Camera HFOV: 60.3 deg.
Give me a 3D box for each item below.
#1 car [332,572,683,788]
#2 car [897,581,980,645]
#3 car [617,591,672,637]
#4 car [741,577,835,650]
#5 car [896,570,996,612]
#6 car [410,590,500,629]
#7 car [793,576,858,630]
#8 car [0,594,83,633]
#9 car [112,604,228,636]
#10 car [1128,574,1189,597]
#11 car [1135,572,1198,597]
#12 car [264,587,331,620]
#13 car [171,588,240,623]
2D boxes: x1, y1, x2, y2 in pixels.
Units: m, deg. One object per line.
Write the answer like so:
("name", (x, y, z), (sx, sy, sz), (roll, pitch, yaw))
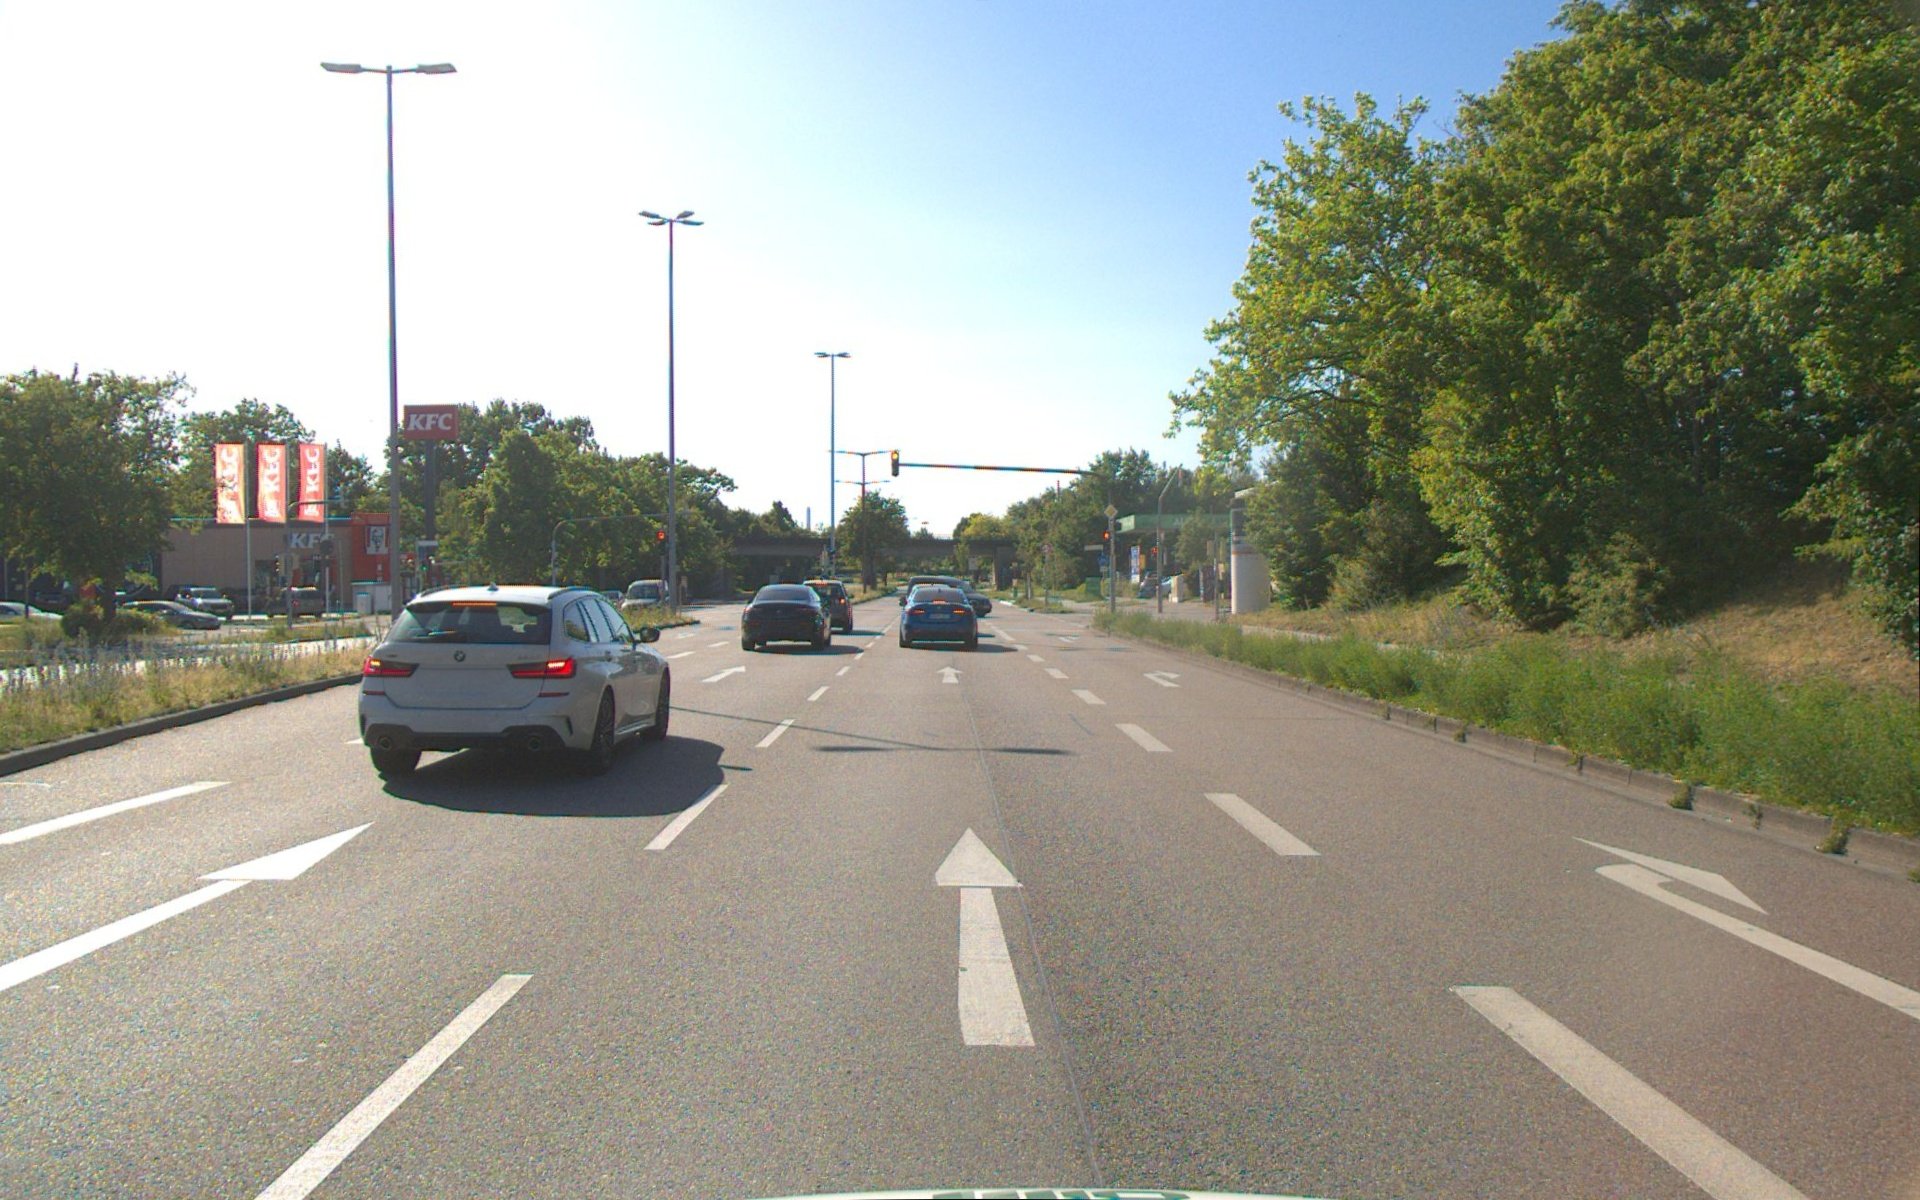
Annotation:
("car", (-3.607, 0.573, 14.095), (1.775, 1.512, 4.595), (1, 0, -1))
("car", (-0.473, 0.312, 40.203), (1.870, 1.447, 3.719), (1, 0, 1))
("car", (-13.543, 0.599, 71.147), (1.644, 1.880, 4.294), (1, 0, -2))
("car", (-3.887, 0.267, 38.075), (1.775, 1.578, 4.542), (0, 1, -1))
("car", (-0.686, -0.430, 76.420), (4.508, 1.908, 1.810), (0, 1, 38))
("car", (-24.497, 0.473, 80.313), (3.738, 1.845, 1.970), (1, 0, -41))
("car", (-4.140, 0.090, 51.469), (1.776, 1.578, 4.351), (1, 0, -2))
("car", (-40.559, 0.565, 71.216), (4.530, 1.607, 1.935), (1, 0, -3))
("car", (-33.740, 0.854, 70.702), (4.001, 1.274, 1.871), (1, 0, -3))
("car", (14.138, -1.017, 117.829), (3.925, 1.579, 1.990), (1, 0, -18))
("car", (13.595, -1.016, 108.993), (3.905, 1.579, 2.000), (1, 0, 0))
("car", (-36.324, 0.182, 90.676), (4.026, 1.770, 1.922), (1, 0, 43))
("car", (-39.678, 0.291, 86.972), (4.026, 1.770, 1.922), (1, 0, 43))
